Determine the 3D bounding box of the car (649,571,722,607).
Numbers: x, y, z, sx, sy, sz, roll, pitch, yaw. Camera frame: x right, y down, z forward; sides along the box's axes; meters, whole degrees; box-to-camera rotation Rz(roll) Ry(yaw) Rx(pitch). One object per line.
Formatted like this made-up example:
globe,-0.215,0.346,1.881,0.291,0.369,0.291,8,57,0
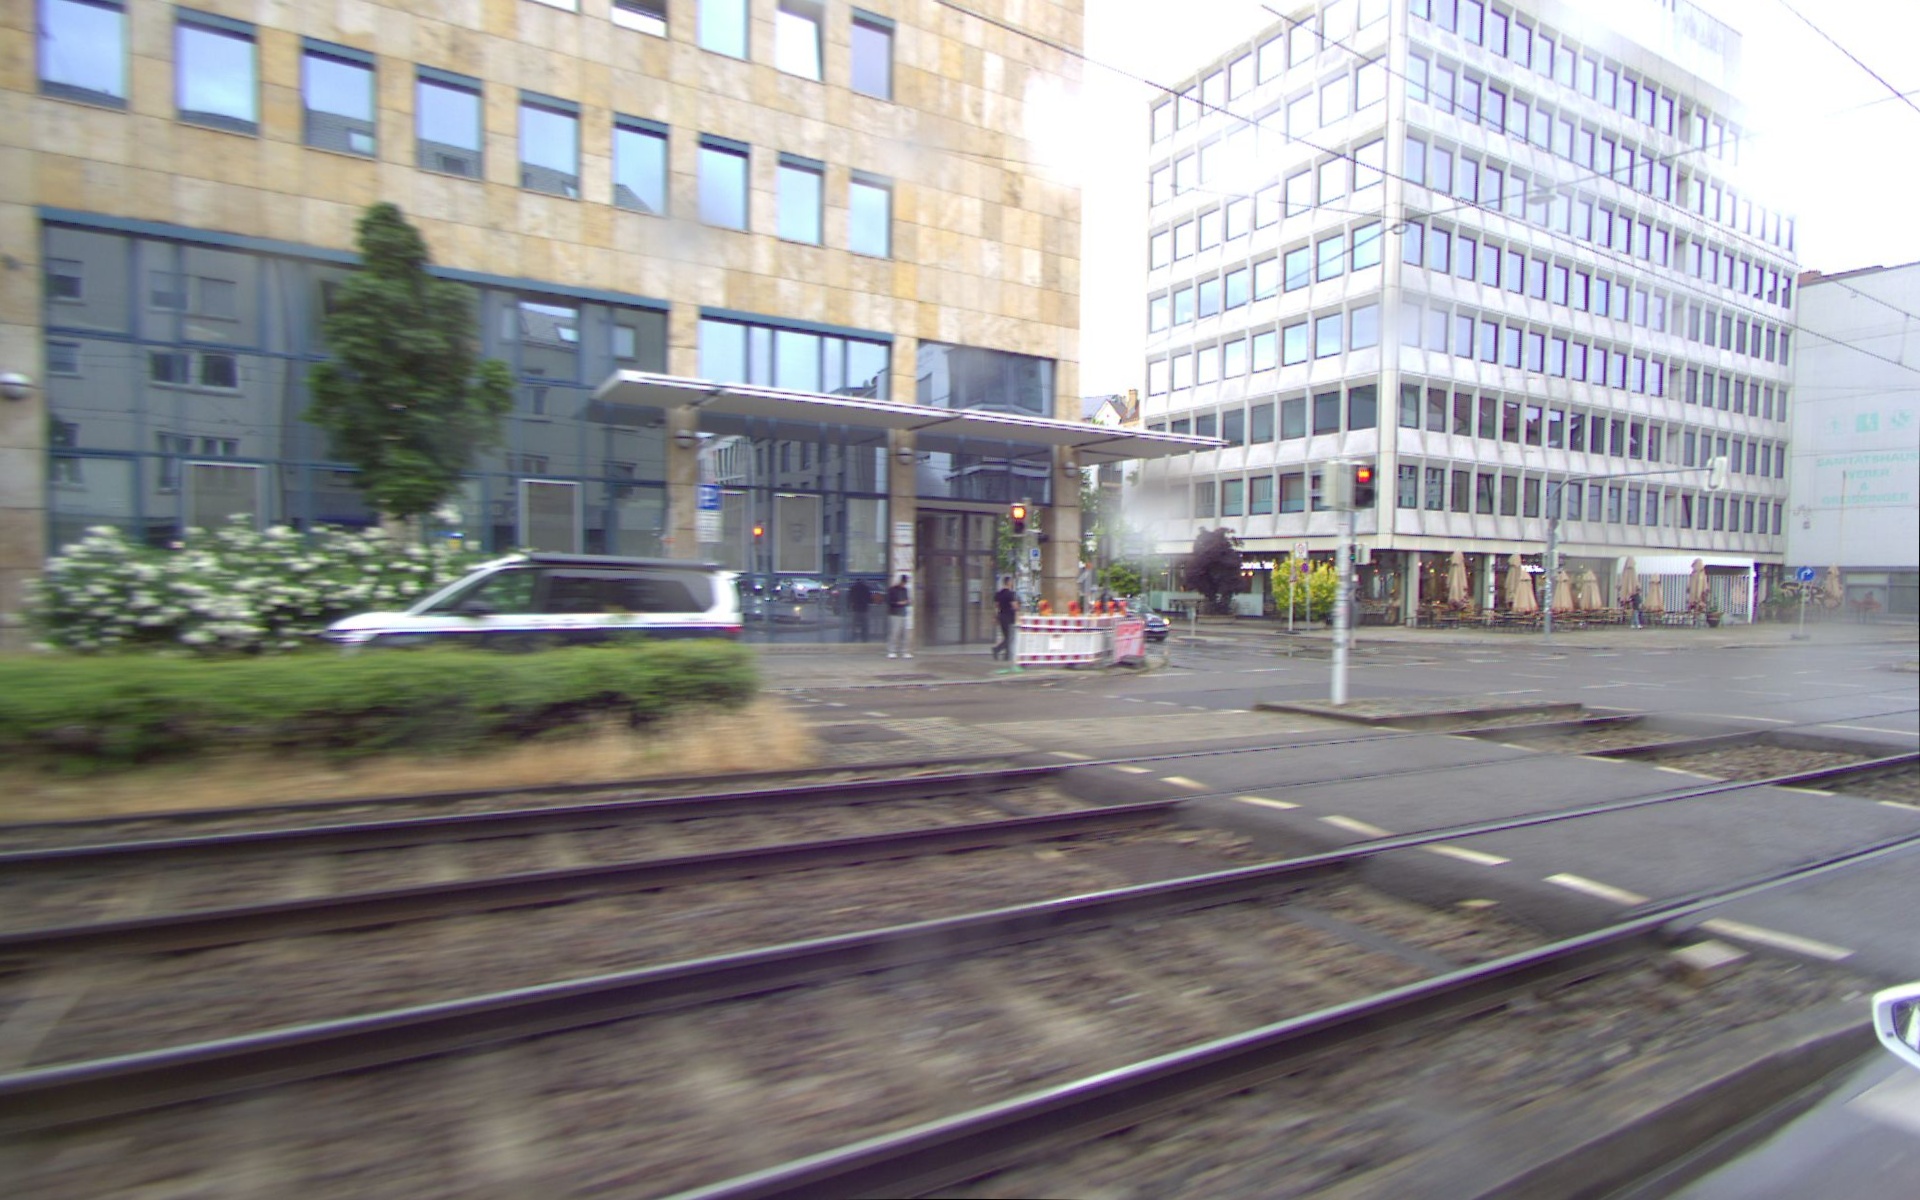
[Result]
car,-15.752,-0.621,57.892,3.930,1.951,1.995,1,1,-12

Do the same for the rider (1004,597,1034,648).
rider,2.012,0.764,34.288,0.775,1.698,0.705,0,2,-31

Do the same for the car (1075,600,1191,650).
car,6.044,0.830,35.484,1.870,1.550,3.964,0,1,-32

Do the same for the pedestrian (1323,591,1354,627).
pedestrian,16.702,0.394,44.326,0.886,1.553,0.957,0,2,-30

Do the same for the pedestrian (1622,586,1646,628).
pedestrian,29.765,0.303,44.359,0.836,1.847,0.560,0,2,-35

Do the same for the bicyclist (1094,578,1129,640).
bicyclist,4.590,0.264,30.477,0.775,1.829,0.705,0,1,-31

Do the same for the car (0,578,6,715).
car,-12.002,0.538,9.363,4.208,1.506,1.679,0,1,-32

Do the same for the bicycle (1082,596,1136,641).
bicycle,4.530,0.541,30.656,0.652,1.328,1.755,1,0,-30

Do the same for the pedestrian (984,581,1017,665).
pedestrian,0.882,0.485,21.884,0.689,1.805,0.679,1,1,4

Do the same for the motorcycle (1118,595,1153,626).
motorcycle,9.911,0.582,56.711,2.063,1.741,0.870,0,0,-41

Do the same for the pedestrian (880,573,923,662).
pedestrian,-1.237,0.351,21.250,0.670,1.839,0.698,0,2,-28

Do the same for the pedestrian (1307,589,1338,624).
pedestrian,16.425,0.299,45.558,0.887,1.553,0.956,0,2,-32

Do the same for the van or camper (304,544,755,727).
van or camper,-5.530,0.434,13.297,5.137,2.024,2.007,2,1,-31

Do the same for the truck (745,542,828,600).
truck,-10.310,-1.704,59.136,2.433,3.206,7.110,0,1,-31

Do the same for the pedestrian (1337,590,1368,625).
pedestrian,17.503,0.328,44.812,0.954,1.553,0.889,0,2,-32
